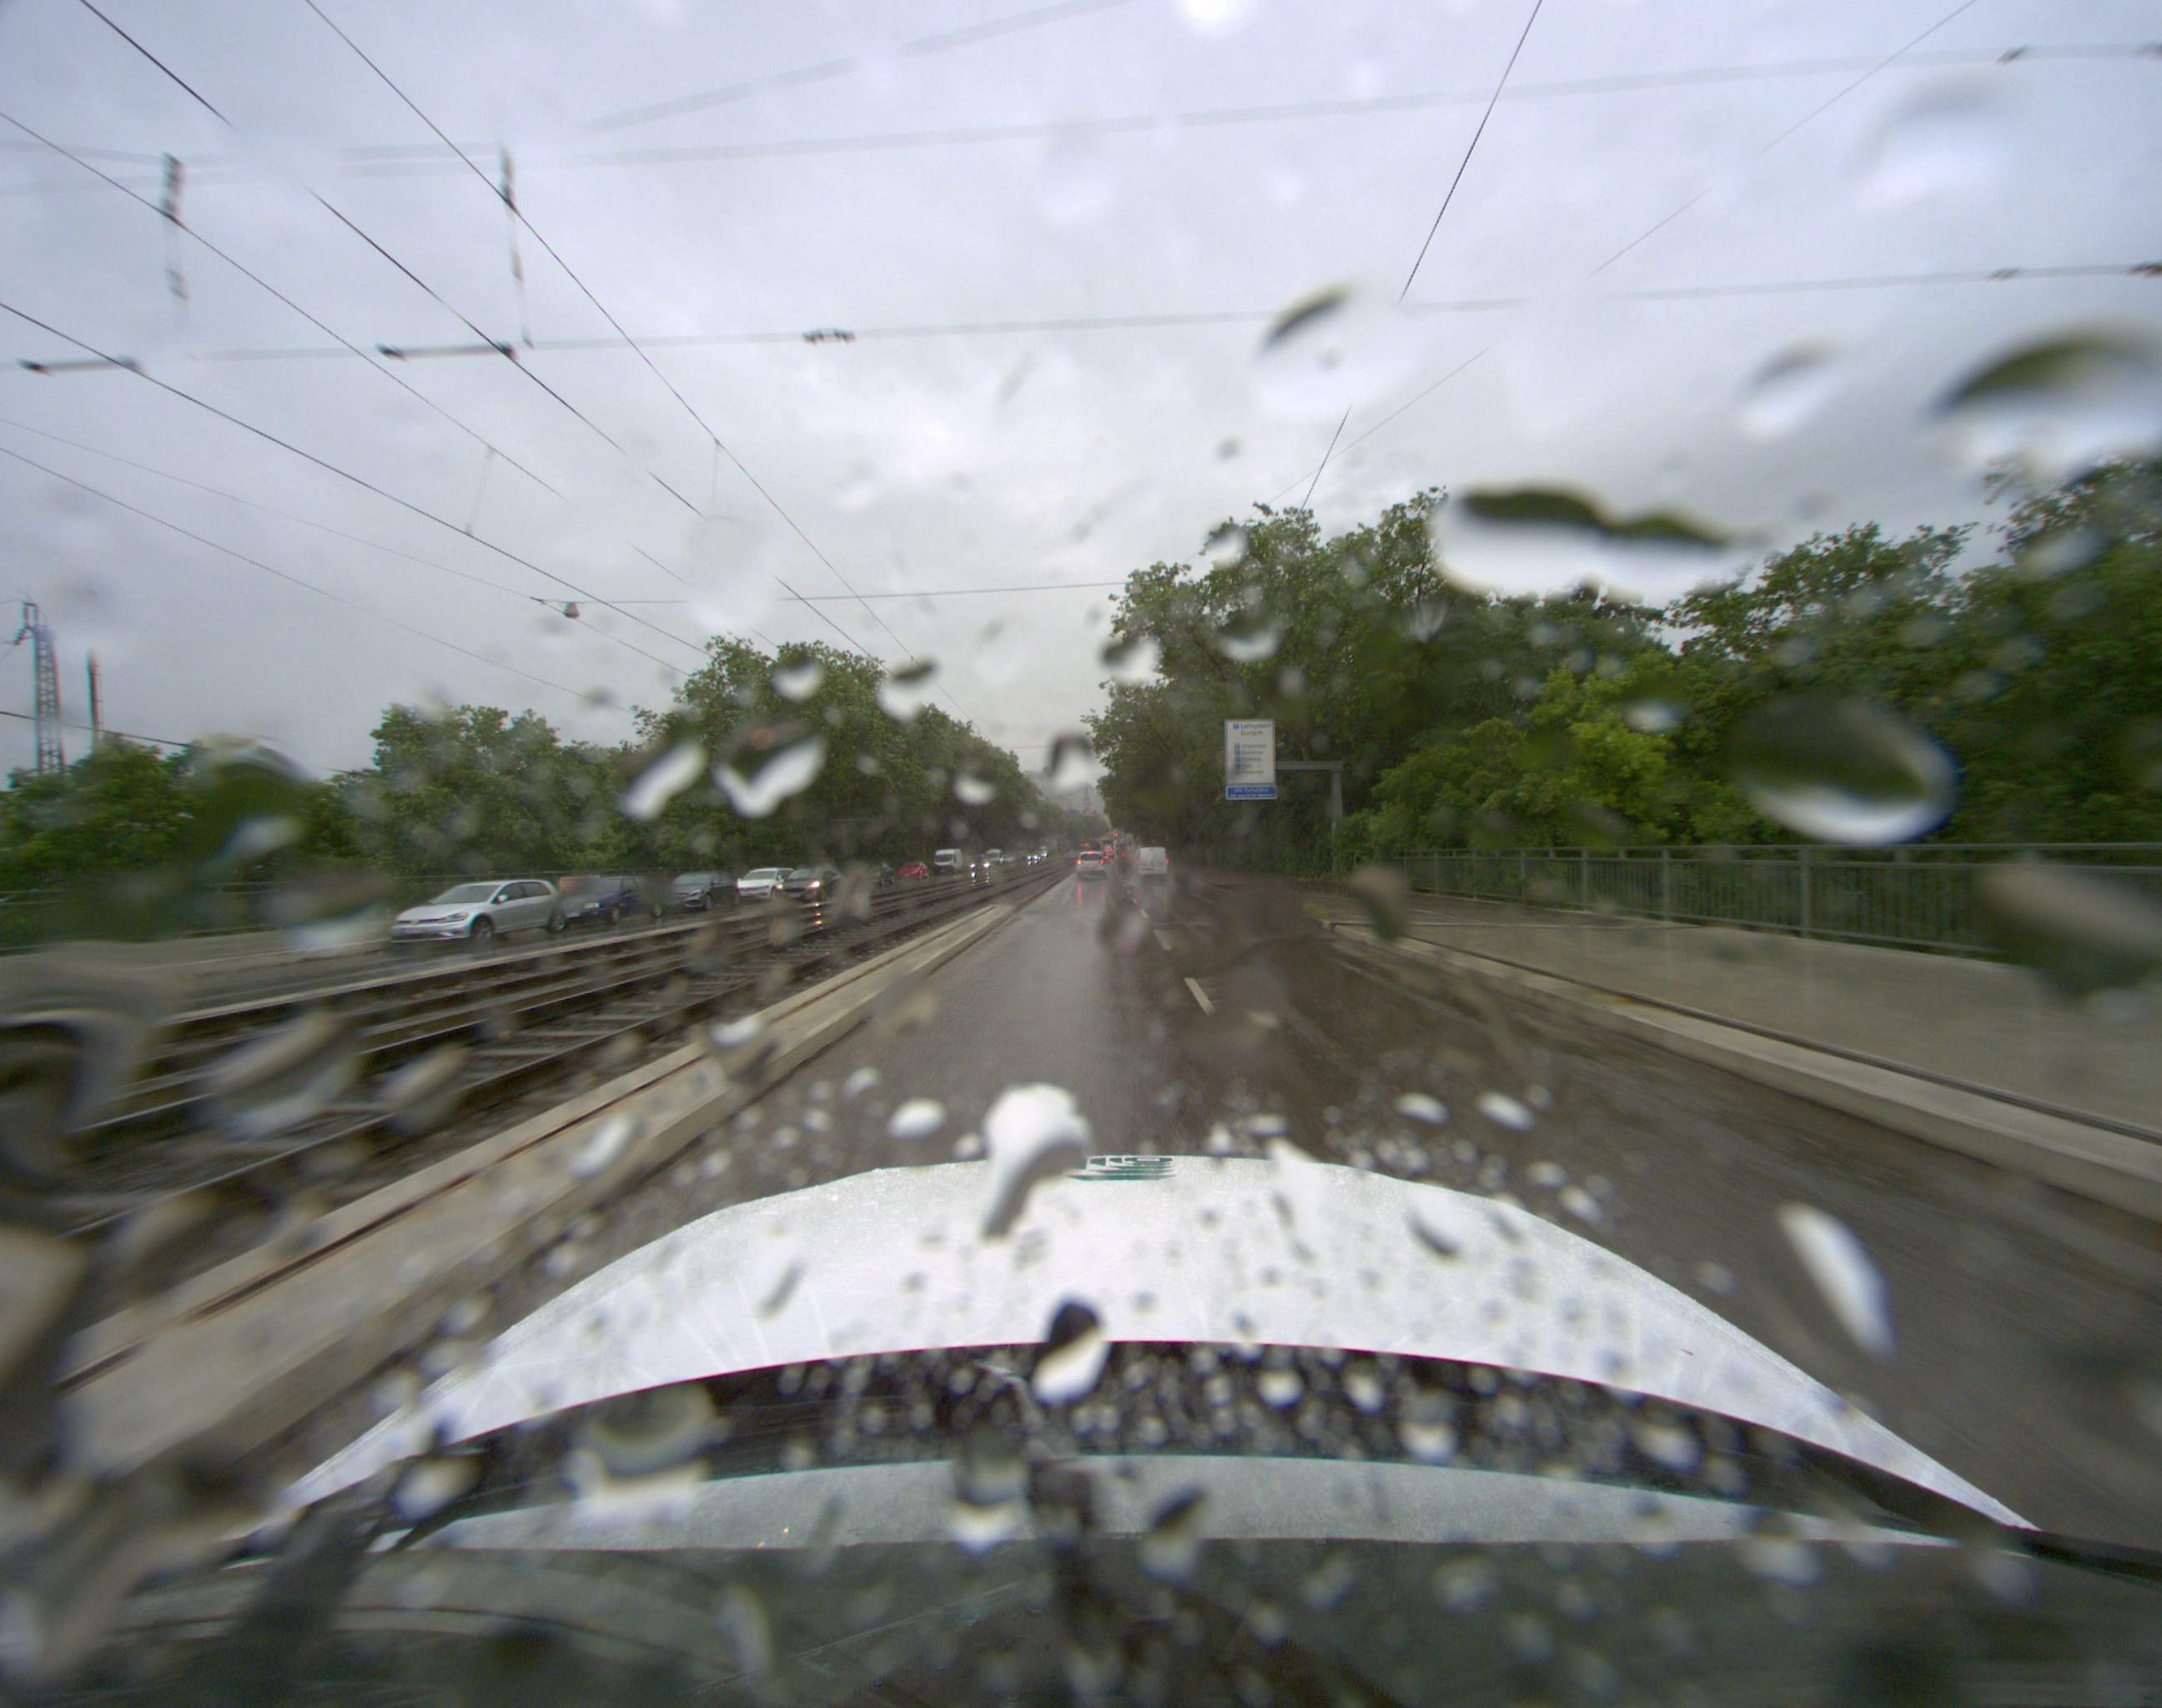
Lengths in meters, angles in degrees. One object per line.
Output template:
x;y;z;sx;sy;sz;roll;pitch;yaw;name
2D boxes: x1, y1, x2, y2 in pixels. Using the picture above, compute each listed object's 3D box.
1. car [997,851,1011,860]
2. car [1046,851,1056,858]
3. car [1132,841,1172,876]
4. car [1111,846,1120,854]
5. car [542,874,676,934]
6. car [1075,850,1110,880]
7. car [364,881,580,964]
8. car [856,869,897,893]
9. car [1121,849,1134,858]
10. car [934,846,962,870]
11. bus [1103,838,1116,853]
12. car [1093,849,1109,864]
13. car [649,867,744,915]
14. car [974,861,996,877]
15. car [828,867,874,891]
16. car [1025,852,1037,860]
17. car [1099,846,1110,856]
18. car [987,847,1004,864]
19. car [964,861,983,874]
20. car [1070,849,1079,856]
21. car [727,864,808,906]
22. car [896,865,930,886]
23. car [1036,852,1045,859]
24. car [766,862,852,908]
-12.549;0.233;133.197;1.798;1.350;4.266;-4;1;1;car
-6.545;0.101;177.695;1.799;1.350;4.265;-4;1;1;car
3.636;0.174;42.440;1.985;1.726;4.004;0;1;3;car
8.353;-1.001;195.810;1.985;1.826;4.004;0;1;3;car
-14.254;1.444;24.921;1.501;1.400;4.281;-4;1;0;car
0.739;0.646;50.525;1.985;1.716;4.004;0;1;3;car
-14.516;1.551;19.800;1.857;1.455;4.320;-4;1;1;car
-13.590;1.782;54.267;1.500;1.292;4.097;-4;1;2;car
7.360;-0.043;129.307;1.985;1.321;4.004;0;1;3;car
-13.169;0.375;80.919;1.735;2.169;5.814;-4;1;0;car
7.841;-2.360;223.276;3.375;3.836;9.749;0;1;4;bus
2.606;0.280;104.826;1.985;1.826;4.004;0;1;3;car
-14.123;1.318;30.191;1.502;1.400;4.404;-4;1;-3;car
-9.954;1.583;85.002;1.500;1.400;4.710;-4;1;2;car
-13.646;1.470;48.490;1.500;1.172;3.714;-4;1;1;car
-9.747;0.339;159.549;1.798;1.350;4.266;-4;1;1;car
4.416;-0.599;152.807;1.985;1.826;4.004;0;1;3;car
-12.266;0.253;117.297;1.794;2.221;4.279;-4;1;1;car
-12.713;1.595;96.580;1.500;1.350;4.029;-4;1;2;car
-1.566;-0.367;197.877;1.795;1.350;4.272;-4;1;7;car
-13.872;1.319;36.328;1.501;1.400;4.894;-7;1;1;car
-13.372;1.697;65.141;1.604;1.442;4.264;-4;1;2;car
-9.249;0.286;186.037;1.798;1.350;4.266;-4;1;1;car
-10.664;1.170;32.321;1.809;1.368;4.268;0;4;2;car
